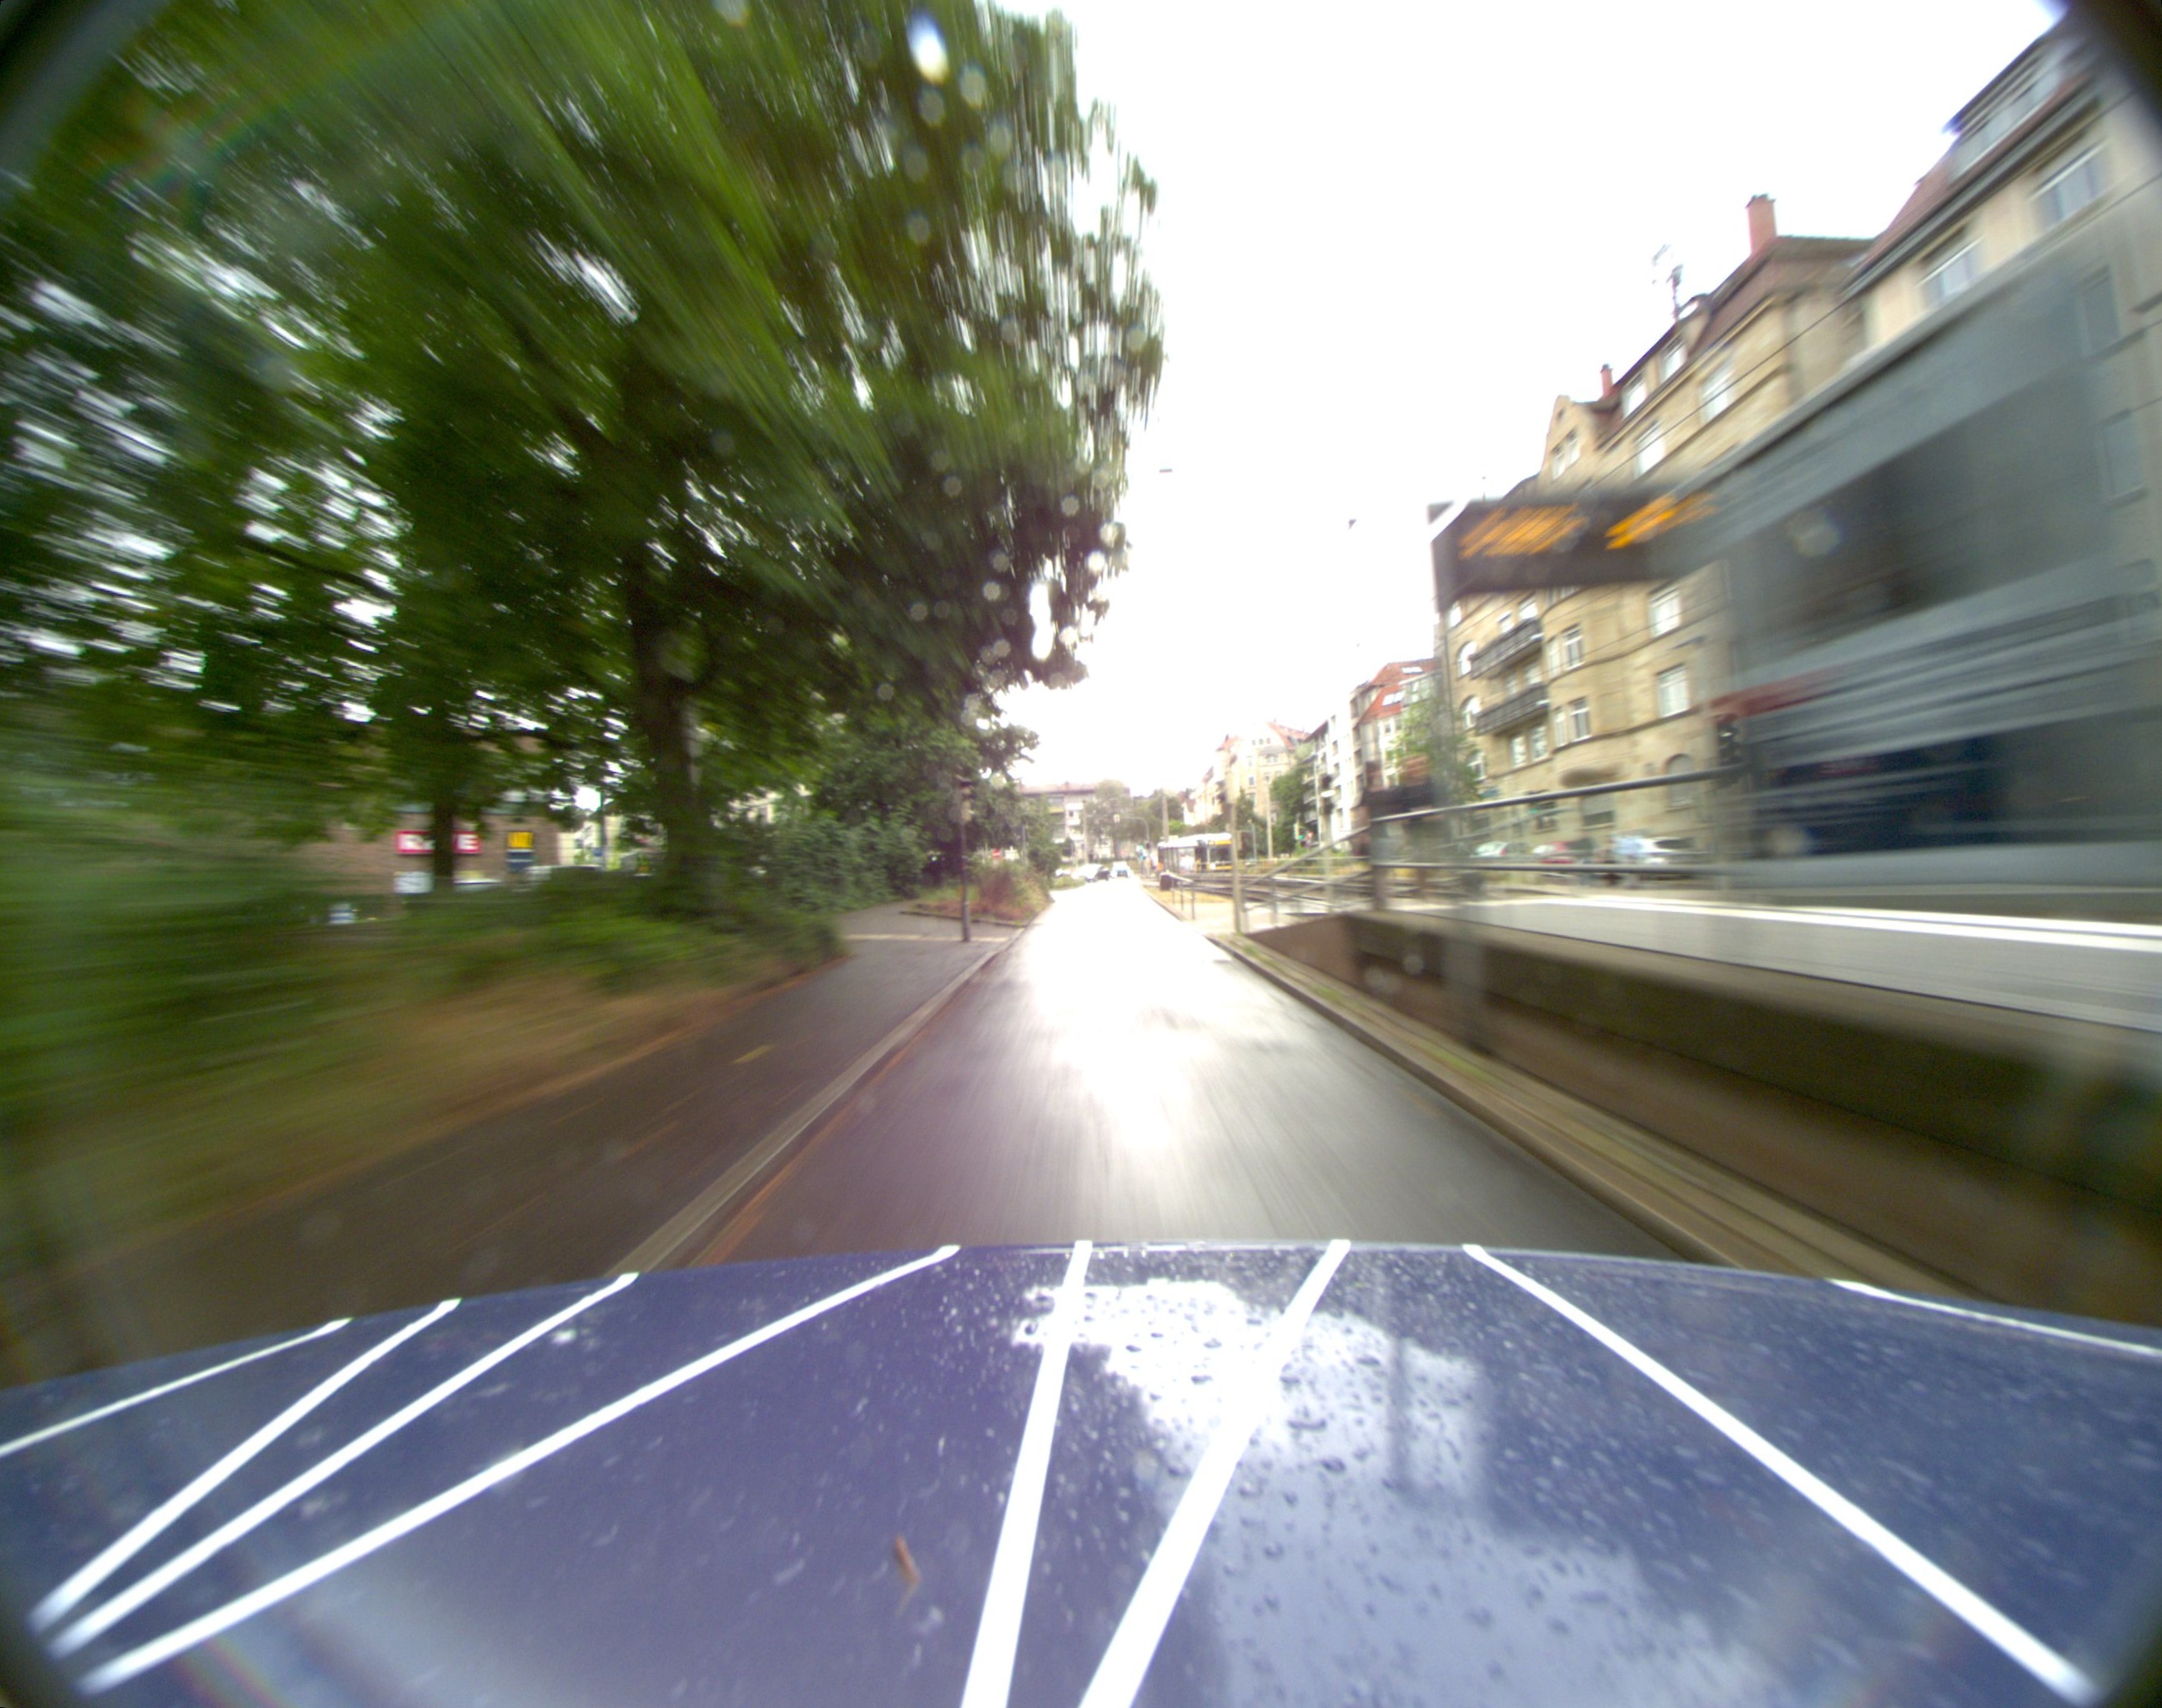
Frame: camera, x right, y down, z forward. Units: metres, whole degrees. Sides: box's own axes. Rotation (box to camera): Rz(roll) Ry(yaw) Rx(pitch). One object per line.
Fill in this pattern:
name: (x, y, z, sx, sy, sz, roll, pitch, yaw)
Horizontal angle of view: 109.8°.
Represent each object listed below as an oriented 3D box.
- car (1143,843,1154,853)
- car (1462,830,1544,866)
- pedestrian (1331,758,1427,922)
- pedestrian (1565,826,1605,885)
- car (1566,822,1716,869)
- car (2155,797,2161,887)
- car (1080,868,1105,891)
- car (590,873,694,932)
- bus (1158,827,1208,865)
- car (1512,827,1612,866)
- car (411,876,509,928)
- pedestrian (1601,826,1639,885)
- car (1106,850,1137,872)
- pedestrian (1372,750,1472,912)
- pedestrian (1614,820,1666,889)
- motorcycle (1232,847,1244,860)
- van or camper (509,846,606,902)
car: (14.189, -1.237, 159.608, 1.805, 1.824, 4.283, -3, 0, -1)
car: (20.163, -0.263, 36.480, 1.634, 1.538, 4.175, -3, 0, 2)
pedestrian: (3.444, -0.125, 8.865, 0.652, 1.771, 0.849, -3, -7, 2)
pedestrian: (13.922, 0.045, 20.986, 0.626, 1.584, 0.621, -3, 0, 3)
car: (19.642, -0.261, 26.971, 1.721, 1.434, 4.868, -3, 0, 1)
car: (19.372, -0.236, 10.738, 1.998, 1.524, 4.532, -5, 1, 2)
car: (0.901, 2.031, 61.638, 1.812, 1.606, 4.304, -4, 0, -1)
car: (-17.300, 1.906, 29.859, 4.497, 2.002, 2.004, -4, 0, 40)
bus: (9.999, -0.700, 75.500, 2.598, 3.449, 9.102, -3, 0, -7)
car: (20.065, -0.303, 31.911, 1.634, 1.434, 4.175, -3, 0, 2)
car: (-20.669, 1.544, 25.255, 3.989, 1.456, 2.004, -2, 0, 44)
pedestrian: (14.503, 0.045, 20.452, 0.521, 1.523, 0.620, -3, 0, 1)
car: (3.987, 0.728, 74.925, 2.000, 2.002, 3.996, -3, 0, -12)
pedestrian: (3.483, -0.223, 7.805, 0.652, 1.553, 0.684, -3, 0, 2)
pedestrian: (14.361, 0.012, 19.530, 0.721, 1.690, 0.729, -3, 0, 3)
motorcycle: (19.958, -0.025, 96.804, 0.699, 1.541, 2.439, -6, 1, -6)
van or camper: (-19.238, 0.702, 27.833, 2.004, 1.823, 5.167, -2, 1, -44)
